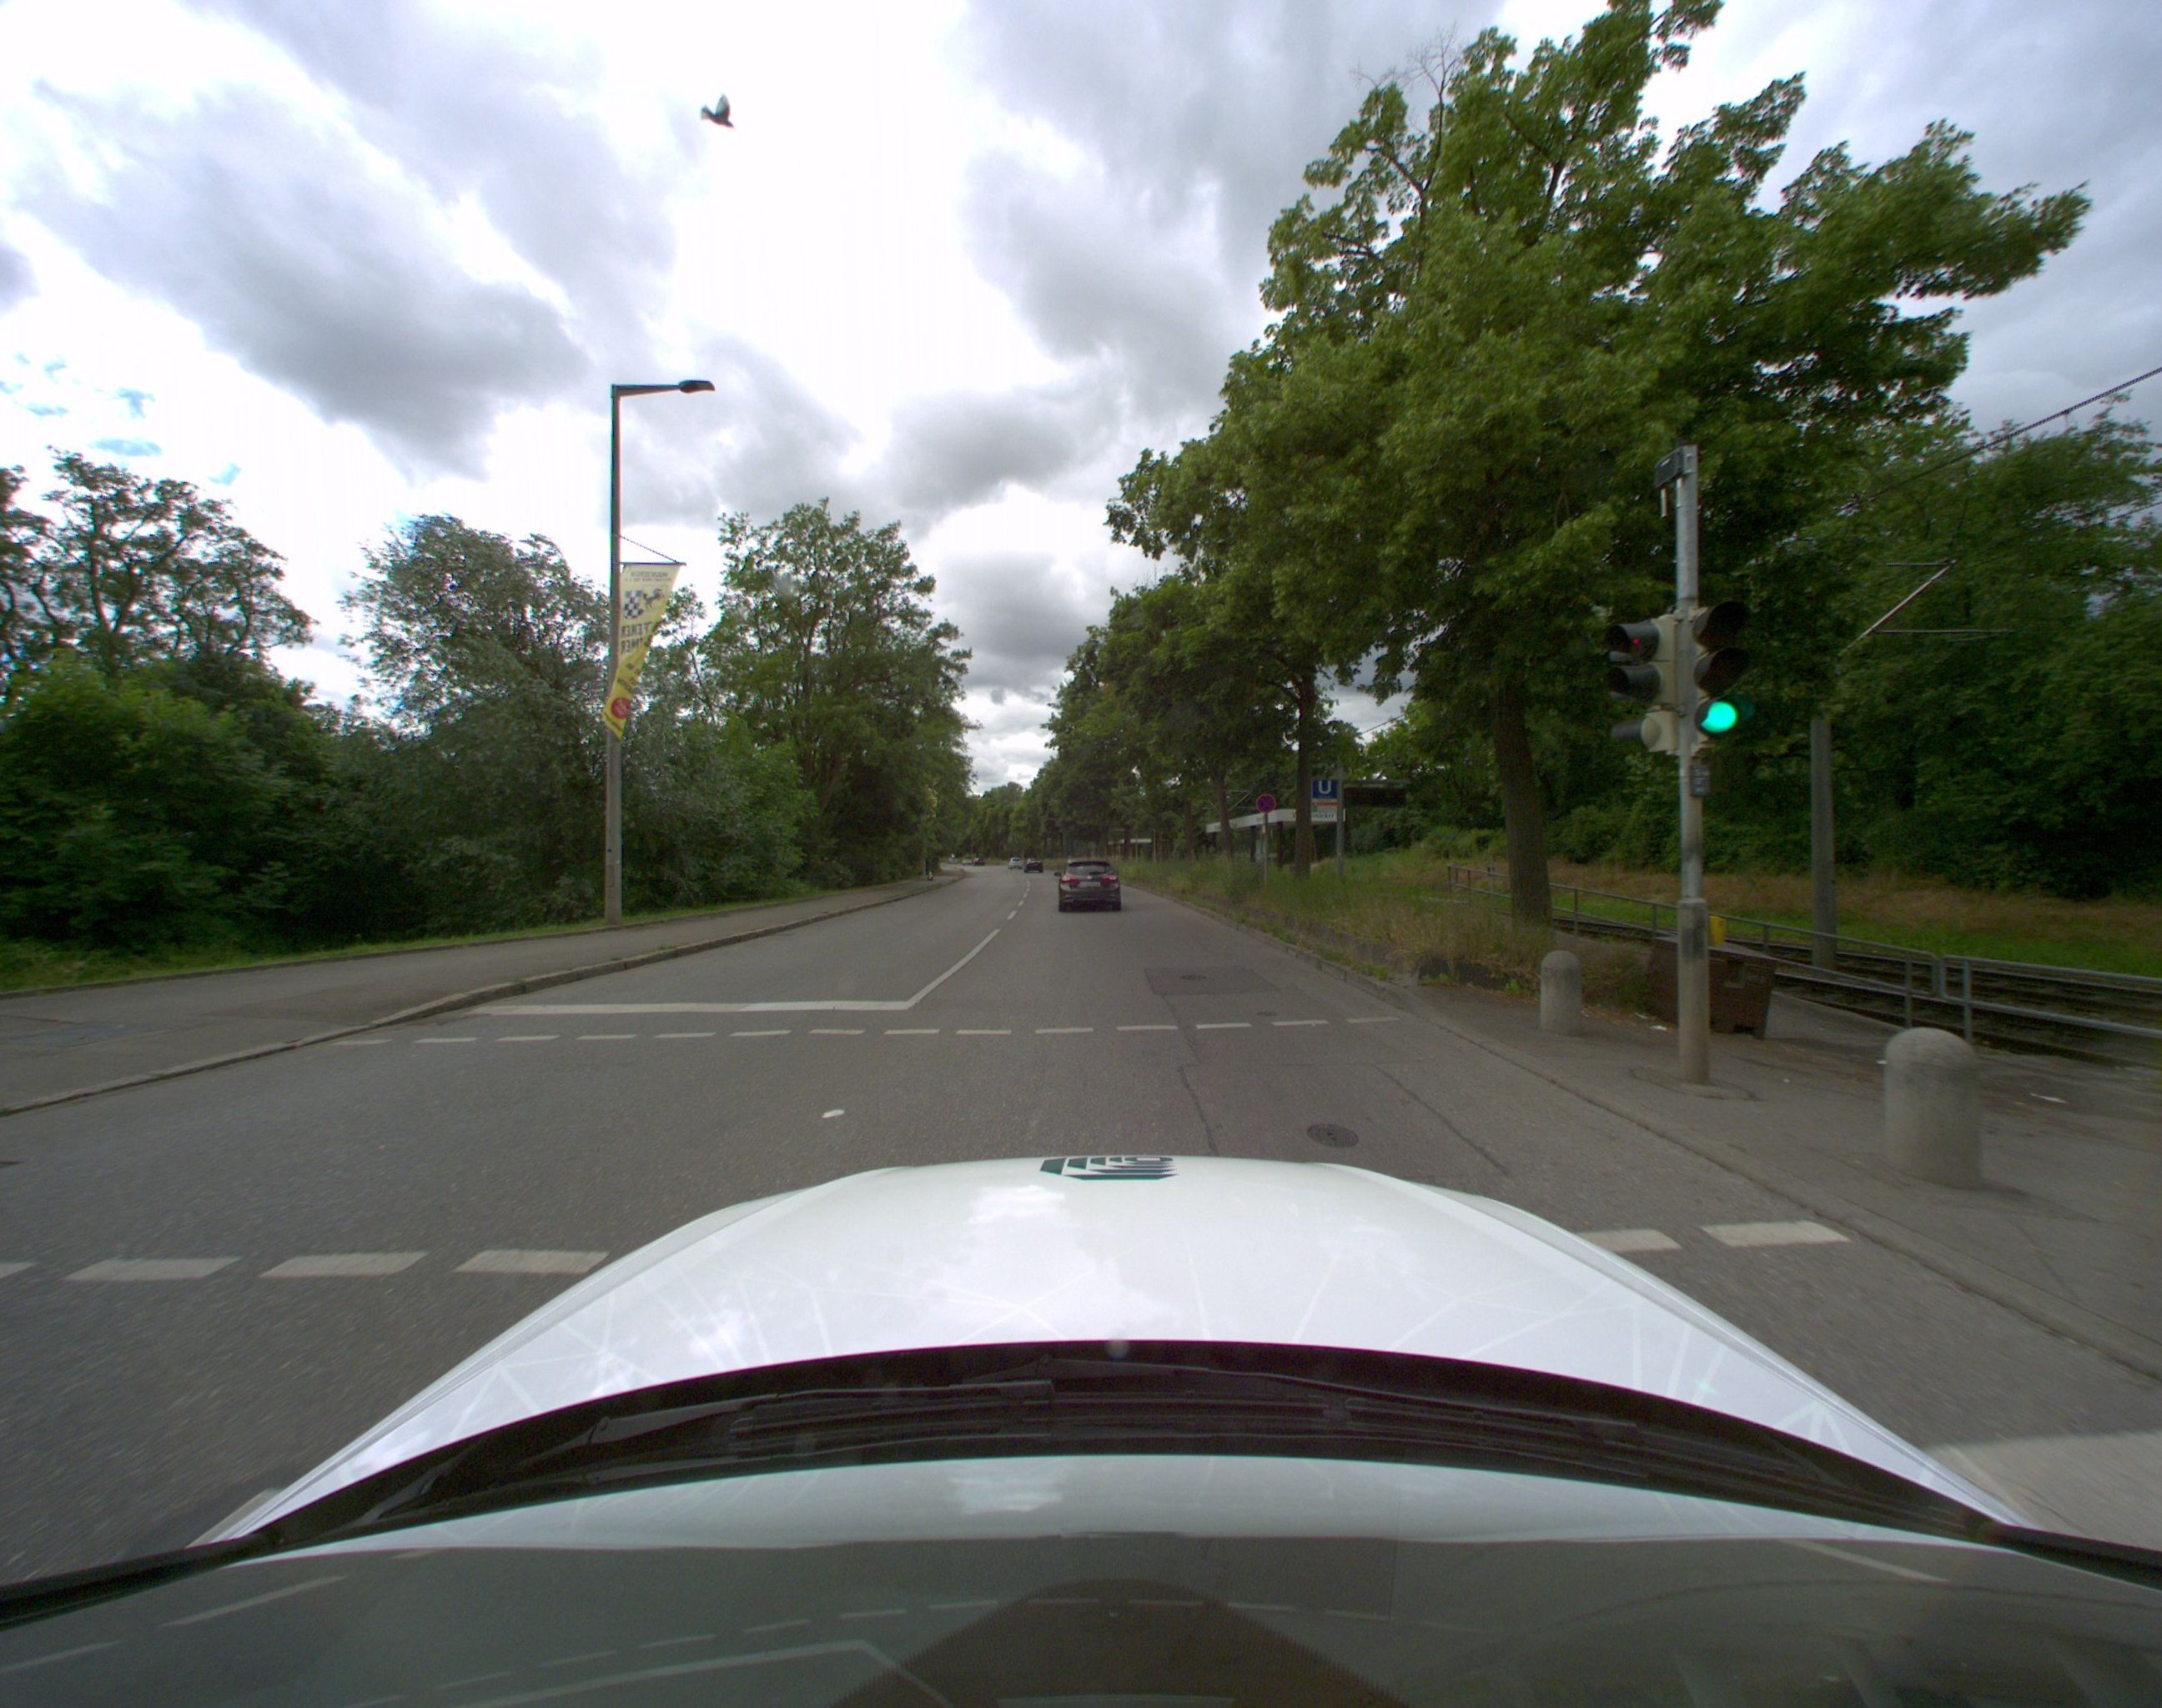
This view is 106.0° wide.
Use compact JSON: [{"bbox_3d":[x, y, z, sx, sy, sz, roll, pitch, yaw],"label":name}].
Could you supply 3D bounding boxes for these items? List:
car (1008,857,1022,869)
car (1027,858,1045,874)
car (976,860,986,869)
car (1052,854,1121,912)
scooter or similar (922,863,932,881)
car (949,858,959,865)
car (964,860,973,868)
[{"bbox_3d":[-8.863,1.186,109.567,1.773,1.472,3.992,2,0,-6],"label":"car"},{"bbox_3d":[-4.590,1.180,82.943,1.772,1.472,3.996,2,0,-3],"label":"car"},{"bbox_3d":[-18.065,1.863,147.435,1.774,1.472,3.990,3,-1,-7],"label":"car"},{"bbox_3d":[0.078,0.784,24.349,1.812,1.508,3.996,-1,1,-3],"label":"car"},{"bbox_3d":[-10.192,1.196,53.867,0.366,1.184,1.287,1,-1,-24],"label":"scooter or similar"},{"bbox_3d":[-28.457,1.753,182.998,1.772,1.472,3.995,2,0,-3],"label":"car"},{"bbox_3d":[-22.468,1.932,163.016,1.775,1.472,3.988,0,0,-9],"label":"car"}]
